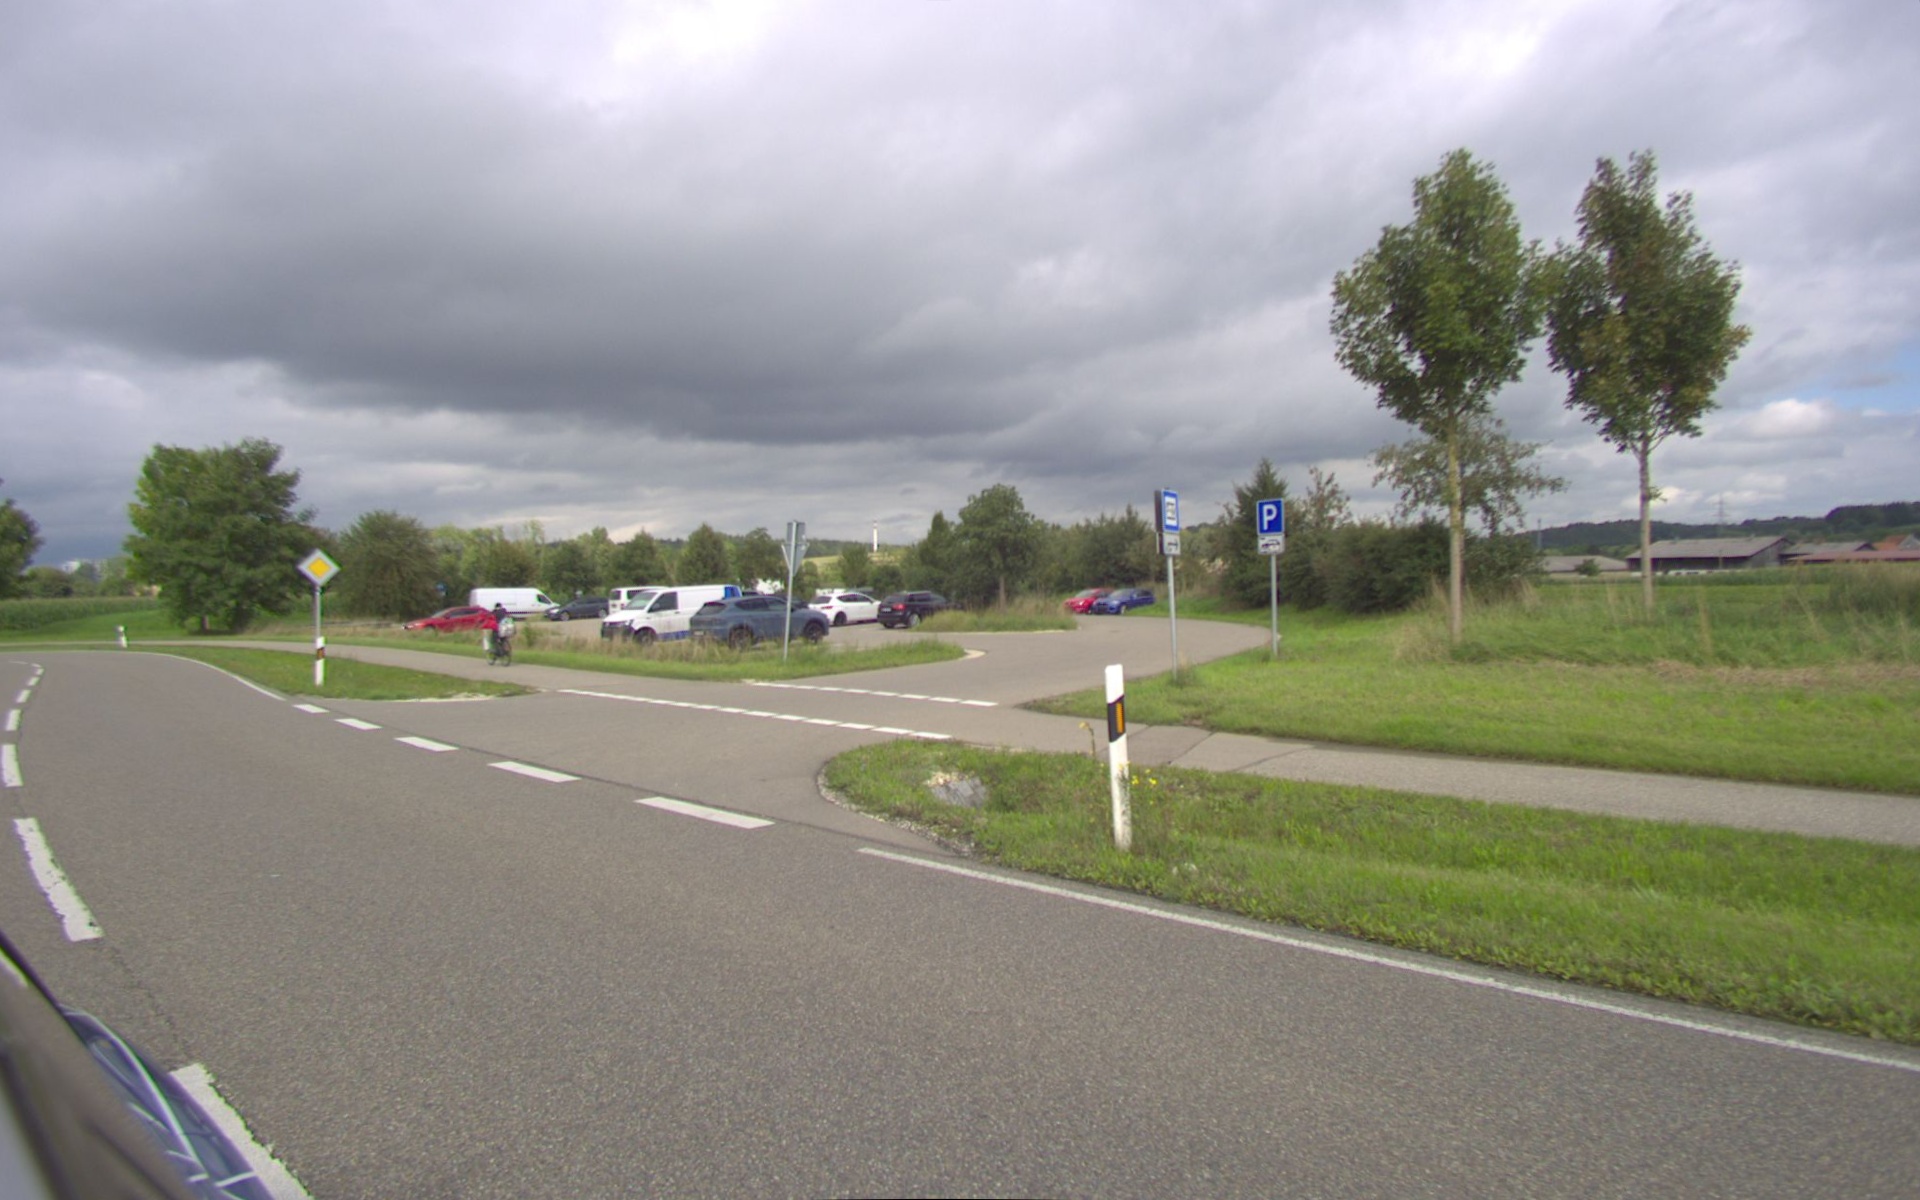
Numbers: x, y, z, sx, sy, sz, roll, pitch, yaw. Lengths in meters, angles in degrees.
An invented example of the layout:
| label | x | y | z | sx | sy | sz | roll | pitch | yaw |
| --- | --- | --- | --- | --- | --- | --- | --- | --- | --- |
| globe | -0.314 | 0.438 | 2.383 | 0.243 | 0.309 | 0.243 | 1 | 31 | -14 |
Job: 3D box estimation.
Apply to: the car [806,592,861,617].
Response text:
| label | x | y | z | sx | sy | sz | roll | pitch | yaw |
| --- | --- | --- | --- | --- | --- | --- | --- | --- | --- |
| car | -8.836 | 0.308 | 70.387 | 1.966 | 1.635 | 4.463 | -2 | 1 | -32 |

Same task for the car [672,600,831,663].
| label | x | y | z | sx | sy | sz | roll | pitch | yaw |
| --- | --- | --- | --- | --- | --- | --- | --- | --- | --- |
| car | -6.161 | 0.894 | 30.170 | 4.198 | 1.607 | 2.002 | -3 | 1 | -43 |

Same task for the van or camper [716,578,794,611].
| label | x | y | z | sx | sy | sz | roll | pitch | yaw |
| --- | --- | --- | --- | --- | --- | --- | --- | --- | --- |
| van or camper | -17.146 | -0.489 | 84.784 | 5.956 | 2.364 | 2.289 | -5 | 2 | -41 |

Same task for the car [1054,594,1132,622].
| label | x | y | z | sx | sy | sz | roll | pitch | yaw |
| --- | --- | --- | --- | --- | --- | --- | --- | --- | --- |
| car | 7.314 | 0.443 | 55.572 | 3.931 | 1.398 | 1.744 | -2 | 0 | -29 |

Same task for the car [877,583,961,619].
| label | x | y | z | sx | sy | sz | roll | pitch | yaw |
| --- | --- | --- | --- | --- | --- | --- | --- | --- | --- |
| car | -1.975 | 0.028 | 48.640 | 3.732 | 1.537 | 1.781 | -2 | 1 | -12 |

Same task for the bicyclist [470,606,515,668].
| label | x | y | z | sx | sy | sz | roll | pitch | yaw |
| --- | --- | --- | --- | --- | --- | --- | --- | --- | --- |
| bicyclist | -12.473 | 0.980 | 26.986 | 0.820 | 1.577 | 1.057 | -2 | 1 | -39 |

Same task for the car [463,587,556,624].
| label | x | y | z | sx | sy | sz | roll | pitch | yaw |
| --- | --- | --- | --- | --- | --- | --- | --- | --- | --- |
| car | -35.457 | 0.422 | 79.762 | 6.241 | 2.639 | 2.203 | -3 | 1 | -43 |

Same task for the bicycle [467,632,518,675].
| label | x | y | z | sx | sy | sz | roll | pitch | yaw |
| --- | --- | --- | --- | --- | --- | --- | --- | --- | --- |
| bicycle | -12.486 | 1.409 | 27.001 | 0.628 | 1.040 | 2.194 | -2 | 1 | -41 |

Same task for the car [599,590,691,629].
| label | x | y | z | sx | sy | sz | roll | pitch | yaw |
| --- | --- | --- | --- | --- | --- | --- | --- | --- | --- |
| car | -18.405 | 0.533 | 59.317 | 4.628 | 1.940 | 2.062 | -5 | 3 | -45 |

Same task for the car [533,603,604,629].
| label | x | y | z | sx | sy | sz | roll | pitch | yaw |
| --- | --- | --- | --- | --- | --- | --- | --- | --- | --- |
| car | -25.774 | 1.028 | 66.669 | 1.795 | 1.536 | 3.942 | -1 | 1 | 45 |

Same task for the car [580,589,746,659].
| label | x | y | z | sx | sy | sz | roll | pitch | yaw |
| --- | --- | --- | --- | --- | --- | --- | --- | --- | --- |
| car | -9.752 | 0.732 | 33.536 | 4.837 | 2.029 | 2.058 | -3 | 1 | -44 |

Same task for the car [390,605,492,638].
| label | x | y | z | sx | sy | sz | roll | pitch | yaw |
| --- | --- | --- | --- | --- | --- | --- | --- | --- | --- |
| car | -26.589 | 1.074 | 51.960 | 4.313 | 1.427 | 1.815 | -3 | 1 | -44 |

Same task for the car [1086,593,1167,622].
| label | x | y | z | sx | sy | sz | roll | pitch | yaw |
| --- | --- | --- | --- | --- | --- | --- | --- | --- | --- |
| car | 8.807 | 0.404 | 53.515 | 3.931 | 1.398 | 1.744 | -2 | 0 | -29 |

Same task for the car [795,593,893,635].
| label | x | y | z | sx | sy | sz | roll | pitch | yaw |
| --- | --- | --- | --- | --- | --- | --- | --- | --- | --- |
| car | -5.059 | 0.589 | 44.540 | 1.964 | 1.563 | 3.948 | -2 | 2 | 40 |

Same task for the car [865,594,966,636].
| label | x | y | z | sx | sy | sz | roll | pitch | yaw |
| --- | --- | --- | --- | --- | --- | --- | --- | --- | --- |
| car | -1.749 | 0.579 | 40.911 | 1.840 | 1.397 | 3.948 | -2 | 2 | 40 |
